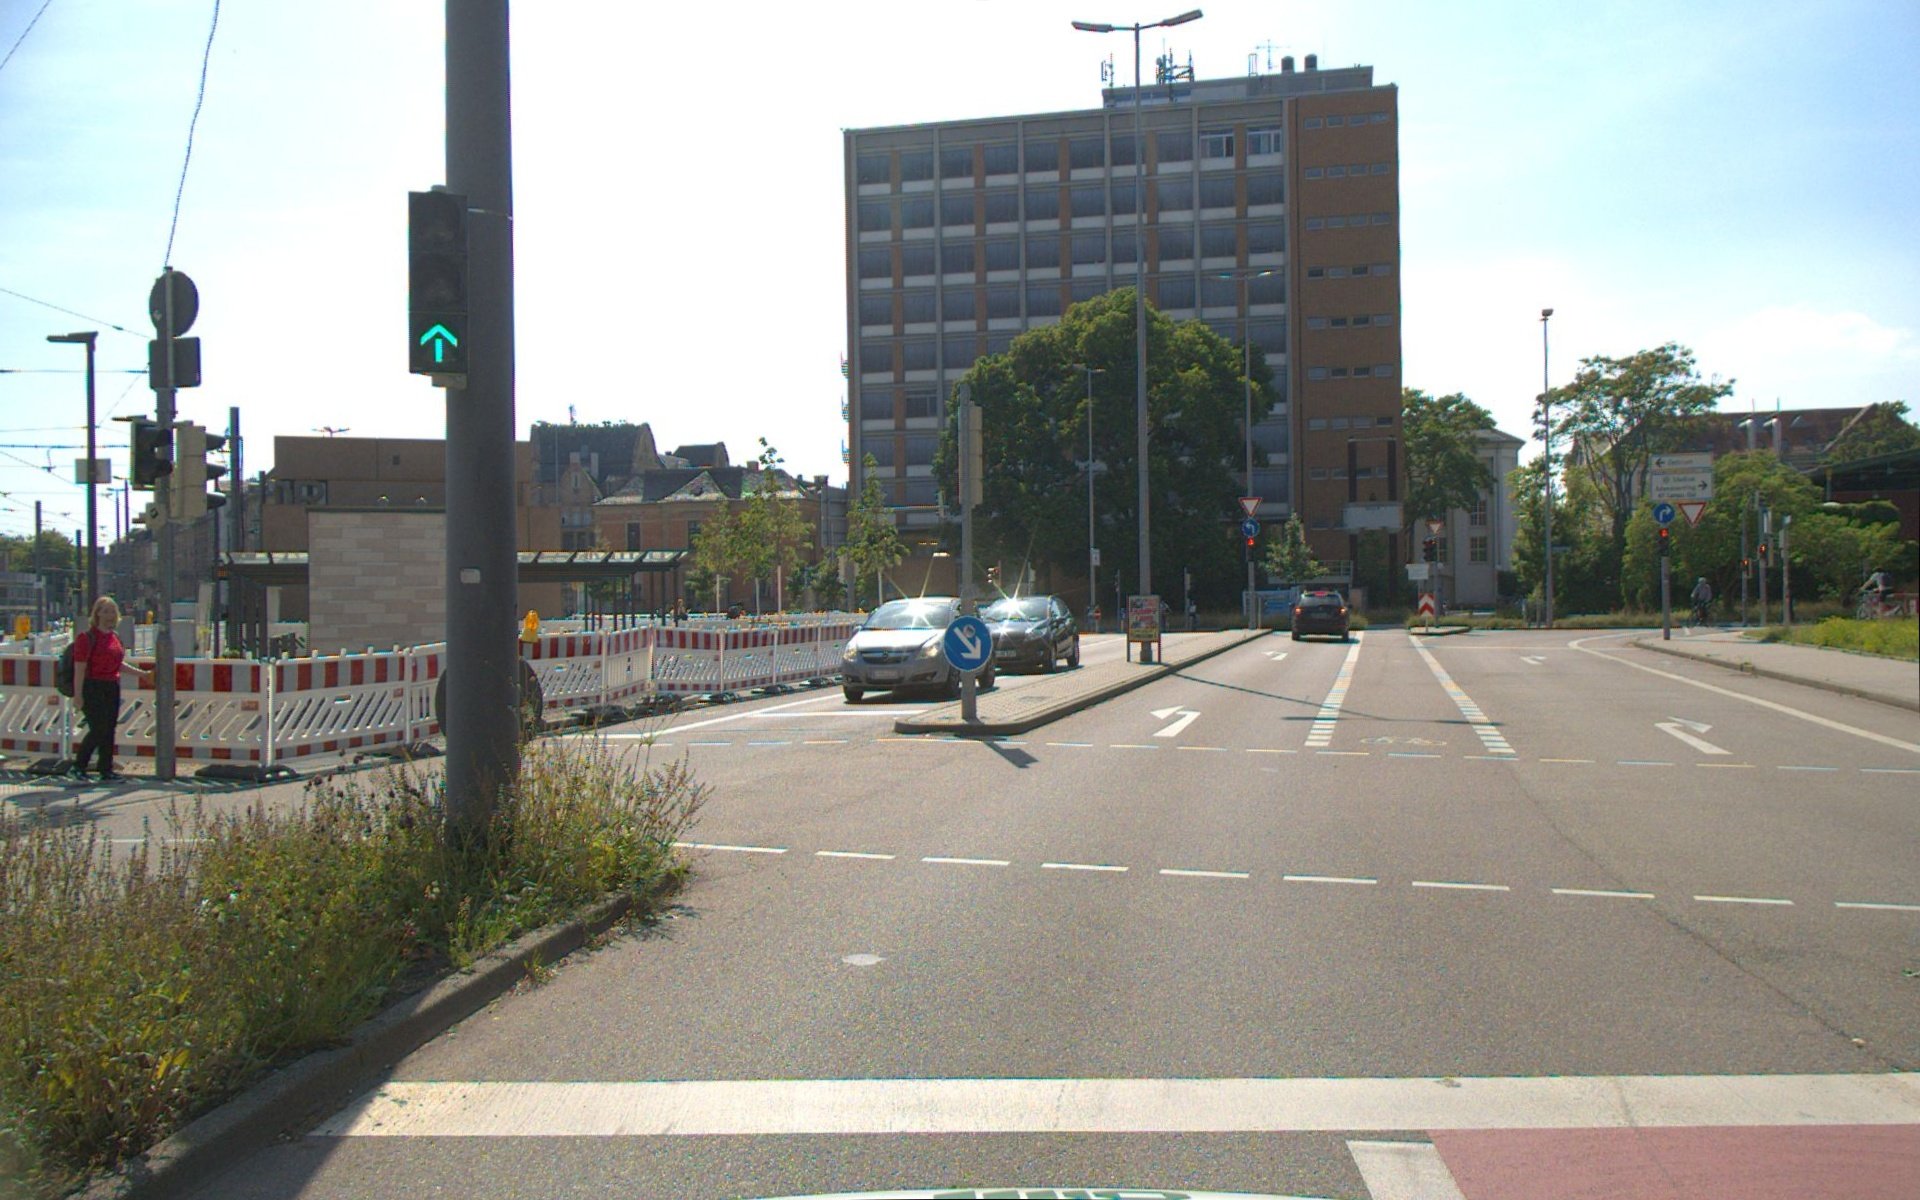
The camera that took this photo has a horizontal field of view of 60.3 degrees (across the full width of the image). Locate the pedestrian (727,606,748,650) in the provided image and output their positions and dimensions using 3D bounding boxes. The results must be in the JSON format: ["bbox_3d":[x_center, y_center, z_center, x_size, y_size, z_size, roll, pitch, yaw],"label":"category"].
[{"bbox_3d":[-7.740,0.975,57.624,0.618,1.518,0.616,-2,0,-2],"label":"pedestrian"}]

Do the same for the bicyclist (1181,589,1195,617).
[{"bbox_3d":[12.166,0.145,88.151,0.605,1.468,0.921,-4,-1,10],"label":"bicyclist"}]

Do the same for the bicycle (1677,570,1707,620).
[{"bbox_3d":[26.982,-0.197,60.997,0.663,1.796,1.812,-2,0,14],"label":"bicycle"}]

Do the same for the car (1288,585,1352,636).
[{"bbox_3d":[11.018,0.283,50.513,1.742,1.468,3.821,1,1,15],"label":"car"}]

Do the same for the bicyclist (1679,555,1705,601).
[{"bbox_3d":[26.896,-0.810,60.771,0.663,1.684,0.919,-2,0,14],"label":"bicyclist"}]

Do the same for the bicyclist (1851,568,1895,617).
[{"bbox_3d":[28.452,-0.227,51.554,0.489,1.496,1.132,1,-1,-28],"label":"bicyclist"}]

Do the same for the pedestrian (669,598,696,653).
[{"bbox_3d":[-9.357,0.869,55.790,0.721,1.783,1.110,-2,-2,-2],"label":"pedestrian"}]

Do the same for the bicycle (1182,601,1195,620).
[{"bbox_3d":[12.190,0.553,88.146,0.605,0.977,1.970,-4,0,10],"label":"bicycle"}]

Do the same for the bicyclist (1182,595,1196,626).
[{"bbox_3d":[12.190,0.553,88.147,0.605,1.609,1.015,-4,-1,10],"label":"bicyclist"}]

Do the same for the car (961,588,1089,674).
[{"bbox_3d":[1.330,0.564,32.337,1.631,1.476,3.821,-4,-1,15],"label":"car"}]

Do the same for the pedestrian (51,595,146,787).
[{"bbox_3d":[-7.616,0.788,14.637,0.342,1.644,0.687,-1,0,15],"label":"pedestrian"}]

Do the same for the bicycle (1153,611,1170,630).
[{"bbox_3d":[11.106,1.099,91.094,0.689,0.994,2.032,-2,0,12],"label":"bicycle"}]

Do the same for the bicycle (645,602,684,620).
[{"bbox_3d":[-14.096,0.527,78.867,1.853,0.806,0.560,-1,1,27],"label":"bicycle"}]

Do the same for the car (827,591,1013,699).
[{"bbox_3d":[-0.522,0.634,25.370,1.756,1.436,4.003,-3,0,15],"label":"car"}]

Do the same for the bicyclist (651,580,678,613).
[{"bbox_3d":[-14.099,-0.167,78.870,1.142,1.500,0.563,-1,0,27],"label":"bicyclist"}]

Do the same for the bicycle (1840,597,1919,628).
[{"bbox_3d":[28.578,0.392,51.414,0.665,0.932,2.149,-2,0,-28],"label":"bicycle"}]

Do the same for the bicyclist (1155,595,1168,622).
[{"bbox_3d":[11.074,0.486,90.857,0.528,1.441,1.031,-2,-1,13],"label":"bicyclist"}]
